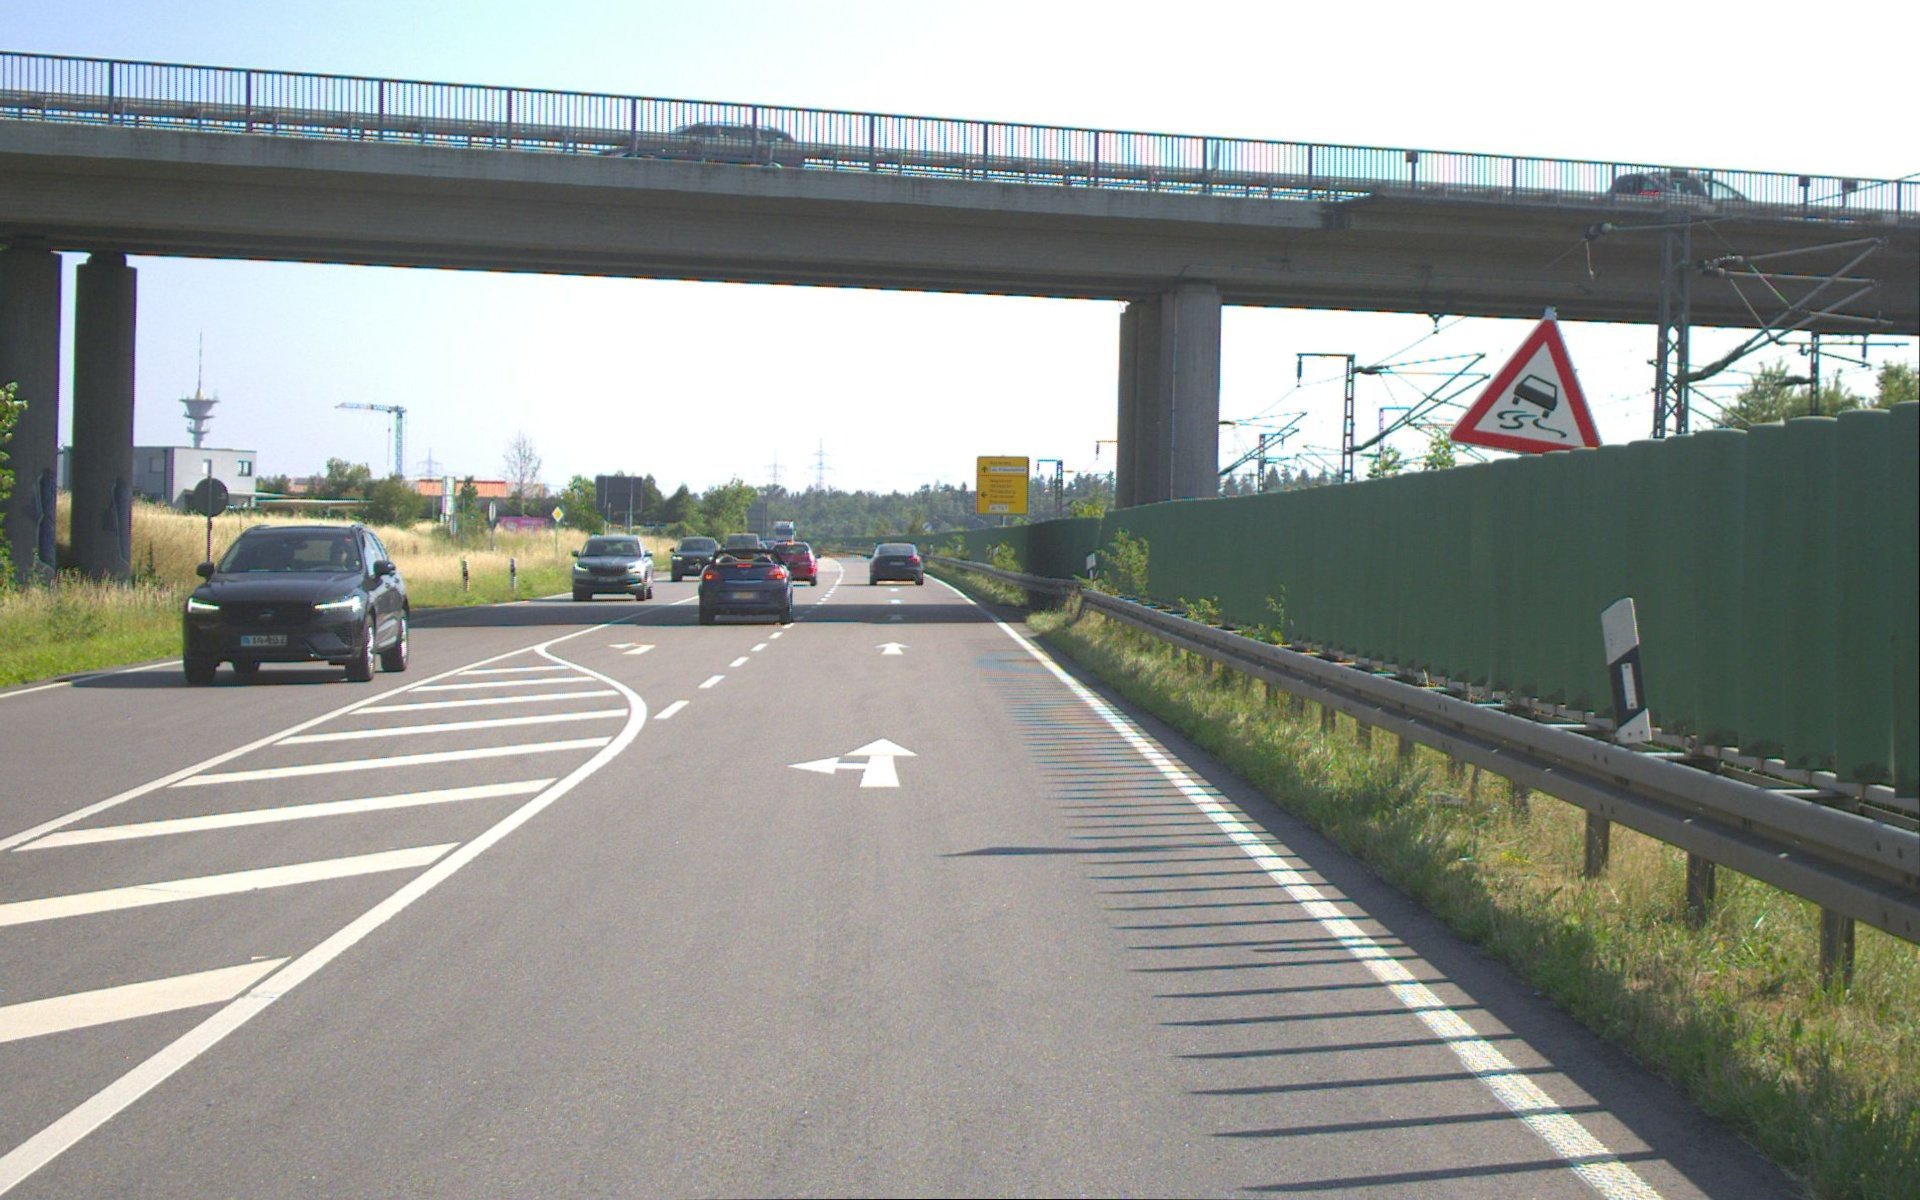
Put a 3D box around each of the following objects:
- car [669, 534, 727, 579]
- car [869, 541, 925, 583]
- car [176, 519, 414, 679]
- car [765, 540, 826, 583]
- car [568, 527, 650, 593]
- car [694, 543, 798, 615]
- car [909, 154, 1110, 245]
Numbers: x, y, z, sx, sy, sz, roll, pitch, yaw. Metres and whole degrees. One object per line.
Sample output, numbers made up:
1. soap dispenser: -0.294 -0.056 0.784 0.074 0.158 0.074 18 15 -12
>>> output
1. car: -9.703 -1.609 127.412 1.895 1.625 4.000 0 1 -1
2. car: -2.153 -1.306 118.512 1.895 1.413 4.000 0 1 -1
3. car: -7.010 -0.051 36.646 1.922 1.587 4.430 0 1 -3
4. car: -5.580 -1.312 116.995 1.895 1.413 4.000 0 1 -1
5. car: -8.912 -1.041 87.443 1.845 1.625 4.001 0 1 -3
6. car: -3.831 -0.391 62.064 1.663 1.257 4.000 0 1 -1
7. car: 1.089 -8.831 76.035 3.986 1.638 1.915 0 1 -22
